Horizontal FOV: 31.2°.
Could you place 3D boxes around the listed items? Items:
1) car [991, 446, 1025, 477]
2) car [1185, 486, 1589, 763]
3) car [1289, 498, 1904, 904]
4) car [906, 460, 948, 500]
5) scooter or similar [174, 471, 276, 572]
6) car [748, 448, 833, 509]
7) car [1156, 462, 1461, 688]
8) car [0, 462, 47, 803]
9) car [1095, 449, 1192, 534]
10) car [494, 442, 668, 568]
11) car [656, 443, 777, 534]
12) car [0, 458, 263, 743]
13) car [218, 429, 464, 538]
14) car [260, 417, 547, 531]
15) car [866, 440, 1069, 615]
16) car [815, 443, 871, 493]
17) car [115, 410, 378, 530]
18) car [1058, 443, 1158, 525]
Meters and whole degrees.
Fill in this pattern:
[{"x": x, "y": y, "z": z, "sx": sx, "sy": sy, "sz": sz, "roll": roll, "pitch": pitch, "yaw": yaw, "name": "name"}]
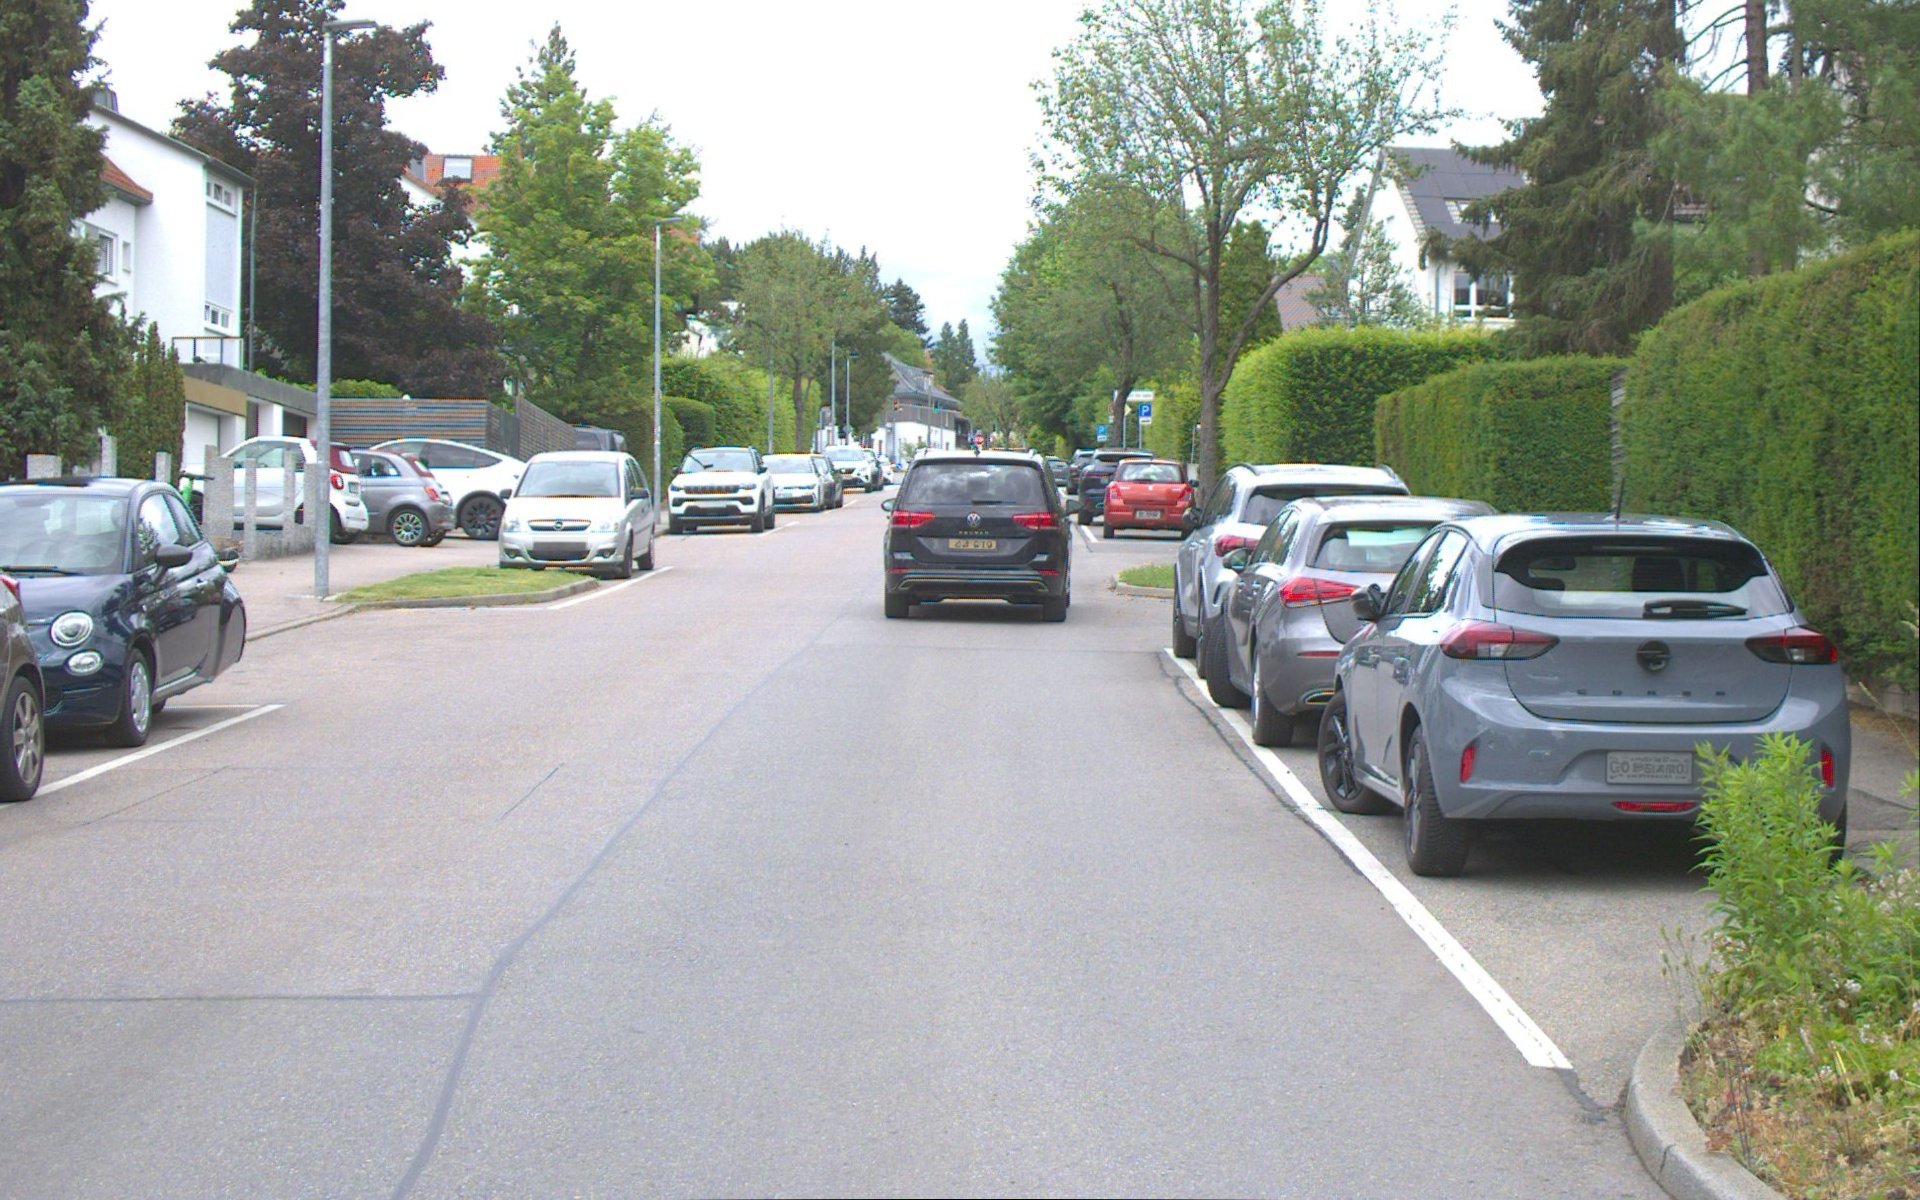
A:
[{"x": 2.679, "y": -7.713, "z": 191.228, "sx": 1.664, "sy": 1.662, "sz": 3.468, "roll": 1, "pitch": 3, "yaw": -3, "name": "car"}, {"x": 2.481, "y": 0.067, "z": 20.956, "sx": 1.855, "sy": 1.459, "sz": 4.173, "roll": 1, "pitch": 2, "yaw": -1, "name": "car"}, {"x": 2.598, "y": 0.324, "z": 15.007, "sx": 1.855, "sy": 1.459, "sz": 4.001, "roll": 1, "pitch": 2, "yaw": -1, "name": "car"}, {"x": -1.553, "y": -5.750, "z": 164.322, "sx": 1.885, "sy": 1.844, "sz": 4.402, "roll": 0, "pitch": 3, "yaw": 1, "name": "car"}, {"x": -8.552, "y": -0.924, "z": 40.057, "sx": 0.474, "sy": 1.144, "sz": 1.453, "roll": 3, "pitch": 3, "yaw": 17, "name": "scooter or similar"}, {"x": -4.168, "y": -3.031, "z": 85.138, "sx": 1.837, "sy": 1.417, "sz": 4.409, "roll": -1, "pitch": 3, "yaw": 1, "name": "car"}, {"x": 2.616, "y": -0.256, "z": 26.714, "sx": 1.855, "sy": 1.576, "sz": 4.173, "roll": 1, "pitch": 2, "yaw": -1, "name": "car"}, {"x": -5.431, "y": 0.198, "z": 14.811, "sx": 1.877, "sy": 1.579, "sz": 3.872, "roll": 0, "pitch": 2, "yaw": 1, "name": "car"}, {"x": 3.390, "y": -2.041, "z": 64.080, "sx": 1.661, "sy": 1.502, "sz": 3.759, "roll": 1, "pitch": 3, "yaw": 1, "name": "car"}, {"x": -4.884, "y": -1.273, "z": 44.740, "sx": 1.760, "sy": 1.557, "sz": 3.856, "roll": 0, "pitch": 3, "yaw": 1, "name": "car"}, {"x": -4.668, "y": -2.184, "z": 66.449, "sx": 1.837, "sy": 1.660, "sz": 4.408, "roll": -1, "pitch": 3, "yaw": 2, "name": "car"}, {"x": -5.458, "y": -0.069, "z": 20.333, "sx": 1.877, "sy": 1.531, "sz": 3.507, "roll": 0, "pitch": 2, "yaw": 1, "name": "car"}, {"x": -9.661, "y": -1.814, "z": 53.798, "sx": 3.429, "sy": 1.507, "sz": 1.692, "roll": 3, "pitch": 1, "yaw": 3, "name": "car"}, {"x": -9.268, "y": -2.117, "z": 57.503, "sx": 4.411, "sy": 1.623, "sz": 1.911, "roll": 3, "pitch": 2, "yaw": 0, "name": "car"}, {"x": 0.135, "y": -0.756, "z": 34.199, "sx": 1.848, "sy": 1.606, "sz": 4.311, "roll": 1, "pitch": 2, "yaw": 2, "name": "car"}, {"x": -3.717, "y": -4.221, "z": 109.594, "sx": 1.722, "sy": 1.535, "sz": 4.001, "roll": -1, "pitch": 3, "yaw": -1, "name": "car"}, {"x": -10.506, "y": -1.905, "z": 50.761, "sx": 3.429, "sy": 1.572, "sz": 1.657, "roll": 3, "pitch": 1, "yaw": 3, "name": "car"}, {"x": 3.151, "y": -2.495, "z": 73.726, "sx": 1.994, "sy": 1.612, "sz": 4.513, "roll": 3, "pitch": 2, "yaw": 2, "name": "car"}]
